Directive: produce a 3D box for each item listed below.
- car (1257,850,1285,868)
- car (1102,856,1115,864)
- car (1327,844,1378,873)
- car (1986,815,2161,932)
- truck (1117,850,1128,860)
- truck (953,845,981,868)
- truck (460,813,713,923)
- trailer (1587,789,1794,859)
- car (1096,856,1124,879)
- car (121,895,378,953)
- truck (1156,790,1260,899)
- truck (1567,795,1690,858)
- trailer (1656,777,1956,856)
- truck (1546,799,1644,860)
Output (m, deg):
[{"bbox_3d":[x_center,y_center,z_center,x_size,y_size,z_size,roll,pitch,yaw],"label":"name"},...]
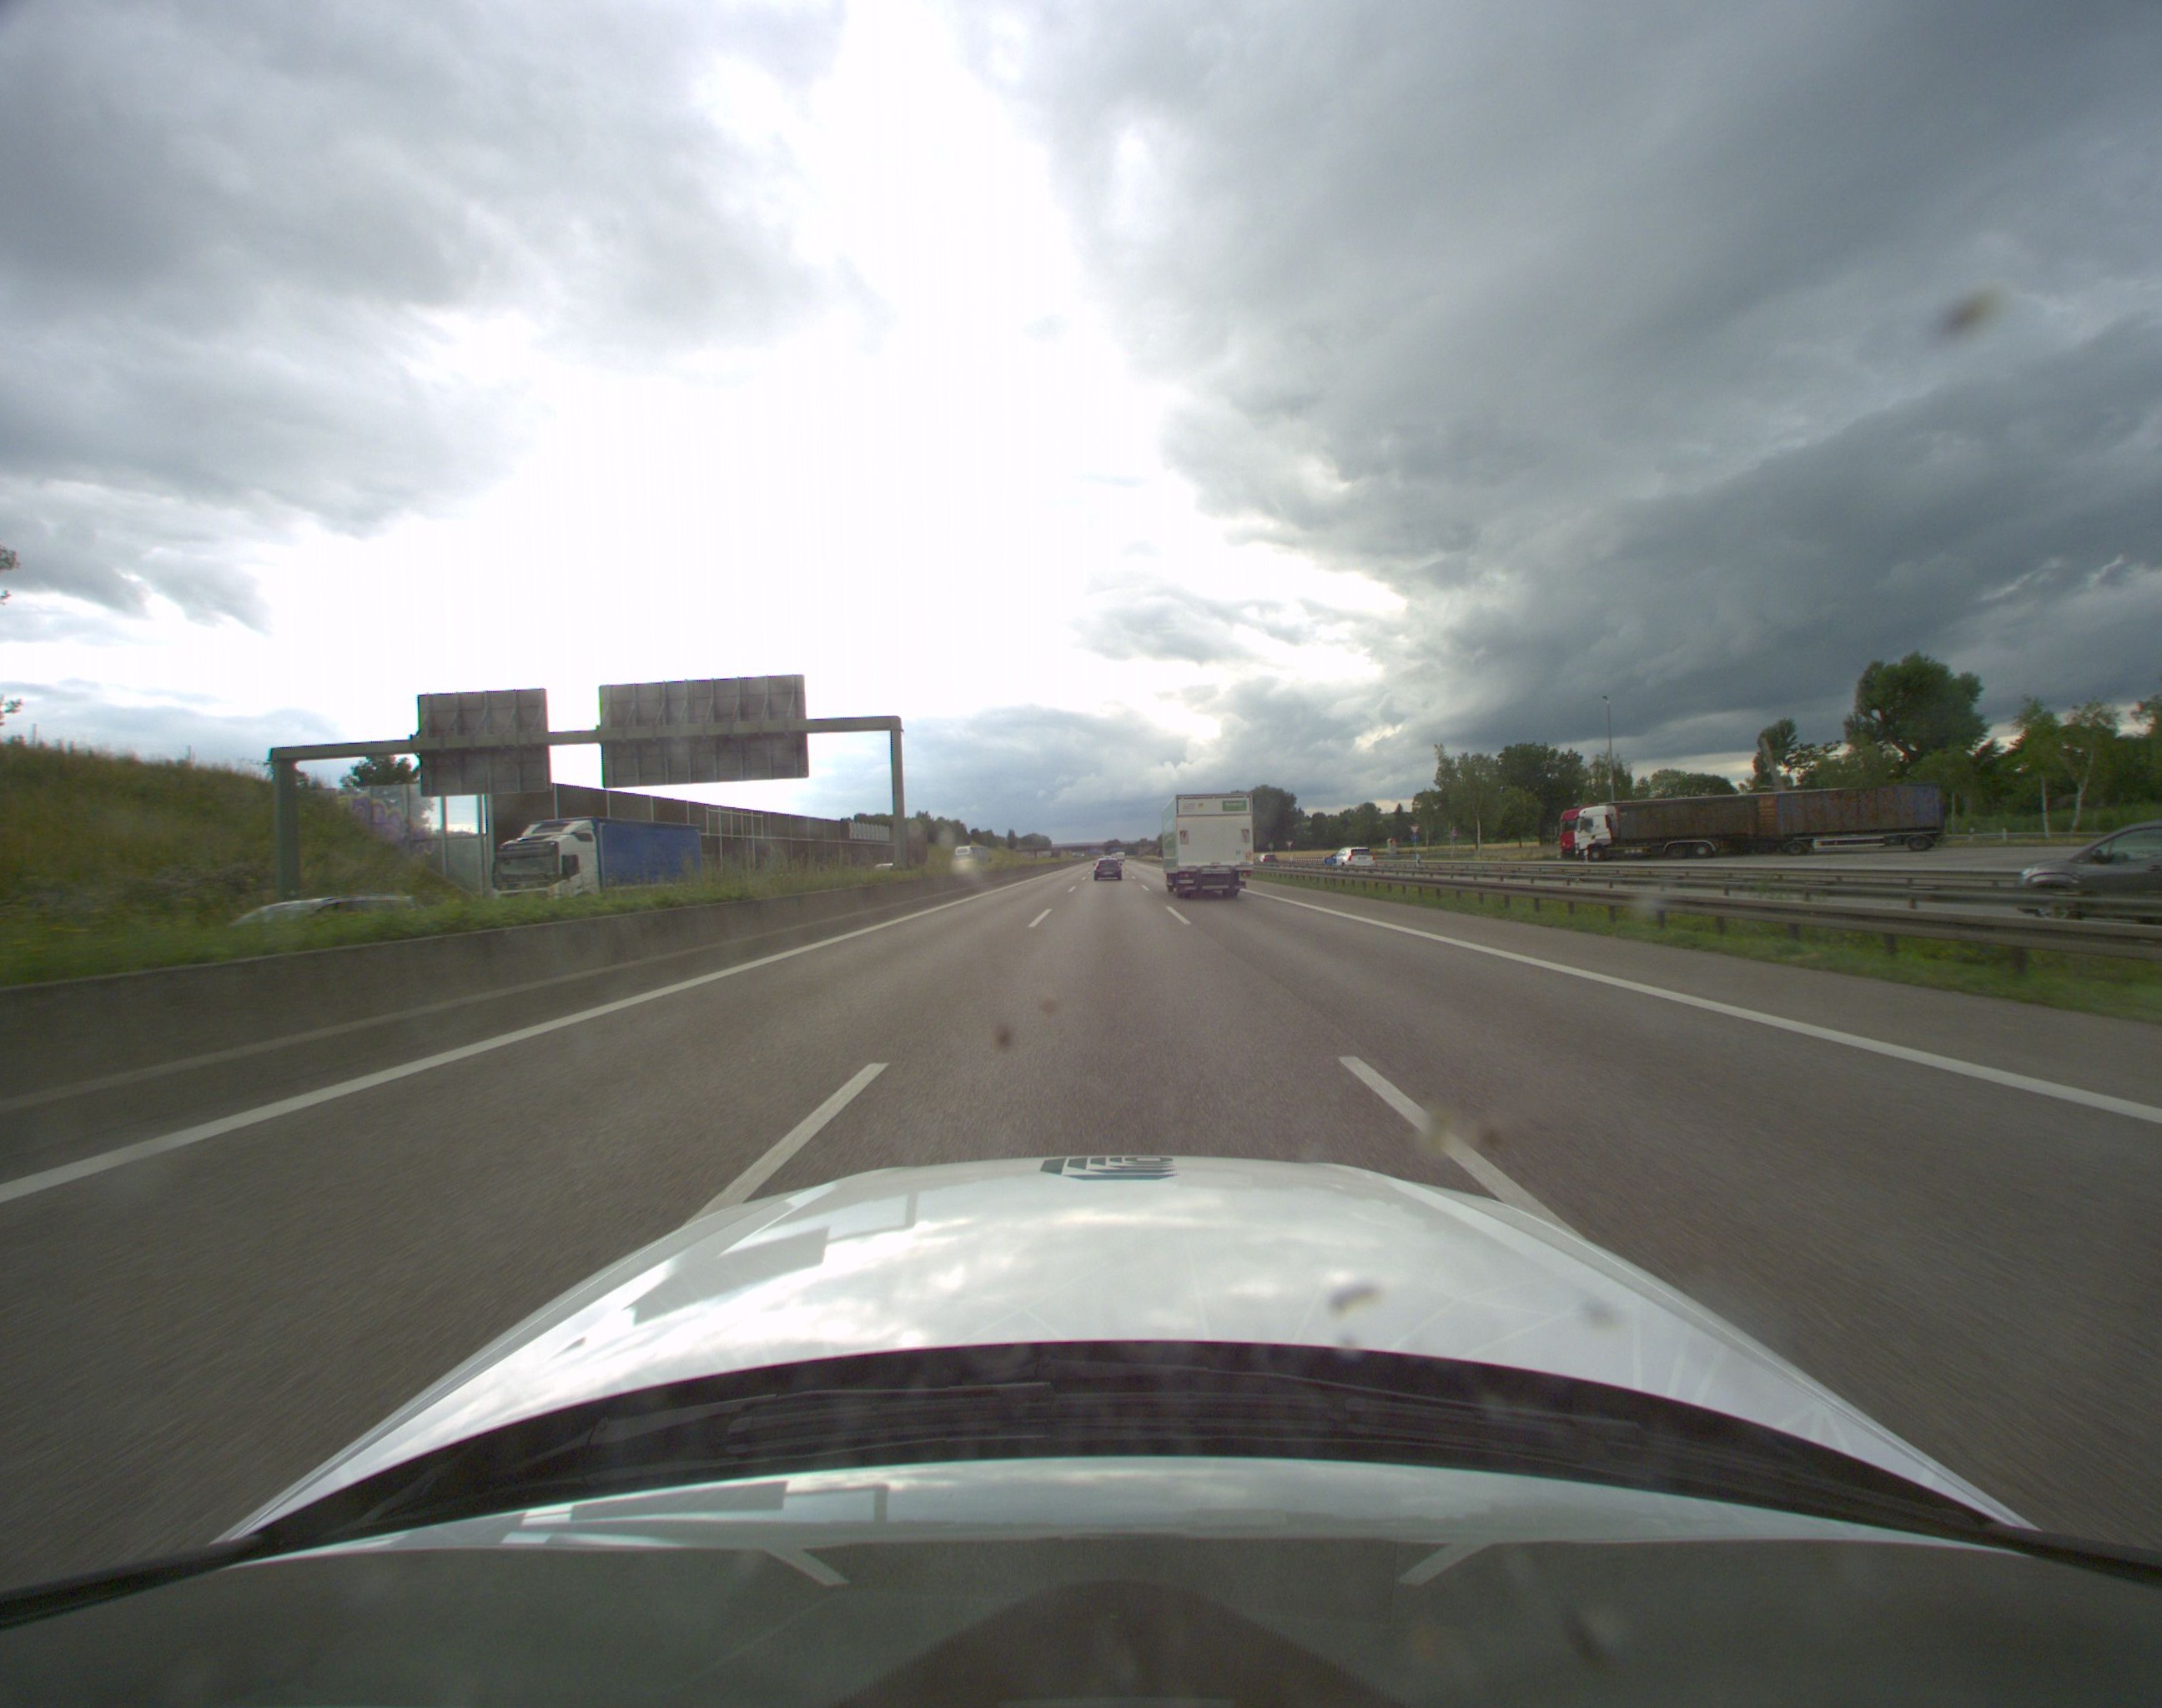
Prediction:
[{"bbox_3d":[19.814,0.478,85.088,1.821,1.757,5.067,-2,0,2],"label":"car"},{"bbox_3d":[4.467,0.988,133.367,1.986,1.298,4.001,-3,0,1],"label":"car"},{"bbox_3d":[18.306,0.285,55.095,1.821,1.757,5.067,-2,0,2],"label":"car"},{"bbox_3d":[17.084,0.258,12.267,1.821,1.757,4.596,-2,0,2],"label":"car"},{"bbox_3d":[11.693,0.329,231.478,2.700,2.964,12.450,0,0,2],"label":"truck"},{"bbox_3d":[-16.378,0.376,117.282,2.814,3.227,5.983,-2,0,2],"label":"truck"},{"bbox_3d":[-19.247,0.481,33.088,3.247,3.603,10.938,-2,0,1],"label":"truck"},{"bbox_3d":[41.454,-1.846,55.927,2.612,4.225,10.976,0,-1,-41],"label":"trailer"},{"bbox_3d":[1.857,0.866,52.668,1.737,1.389,4.002,-1,0,2],"label":"car"},{"bbox_3d":[-15.938,1.309,15.867,1.519,0.861,3.348,0,0,2],"label":"car"},{"bbox_3d":[4.522,-0.305,30.910,2.760,3.504,9.065,-1,0,2],"label":"truck"},{"bbox_3d":[37.082,-1.761,55.277,2.772,3.850,6.316,-2,0,-42],"label":"truck"},{"bbox_3d":[42.737,-2.005,48.827,2.763,3.841,13.051,-2,0,-41],"label":"trailer"},{"bbox_3d":[37.826,-1.735,60.054,2.606,4.254,5.625,0,-1,-42],"label":"truck"}]
